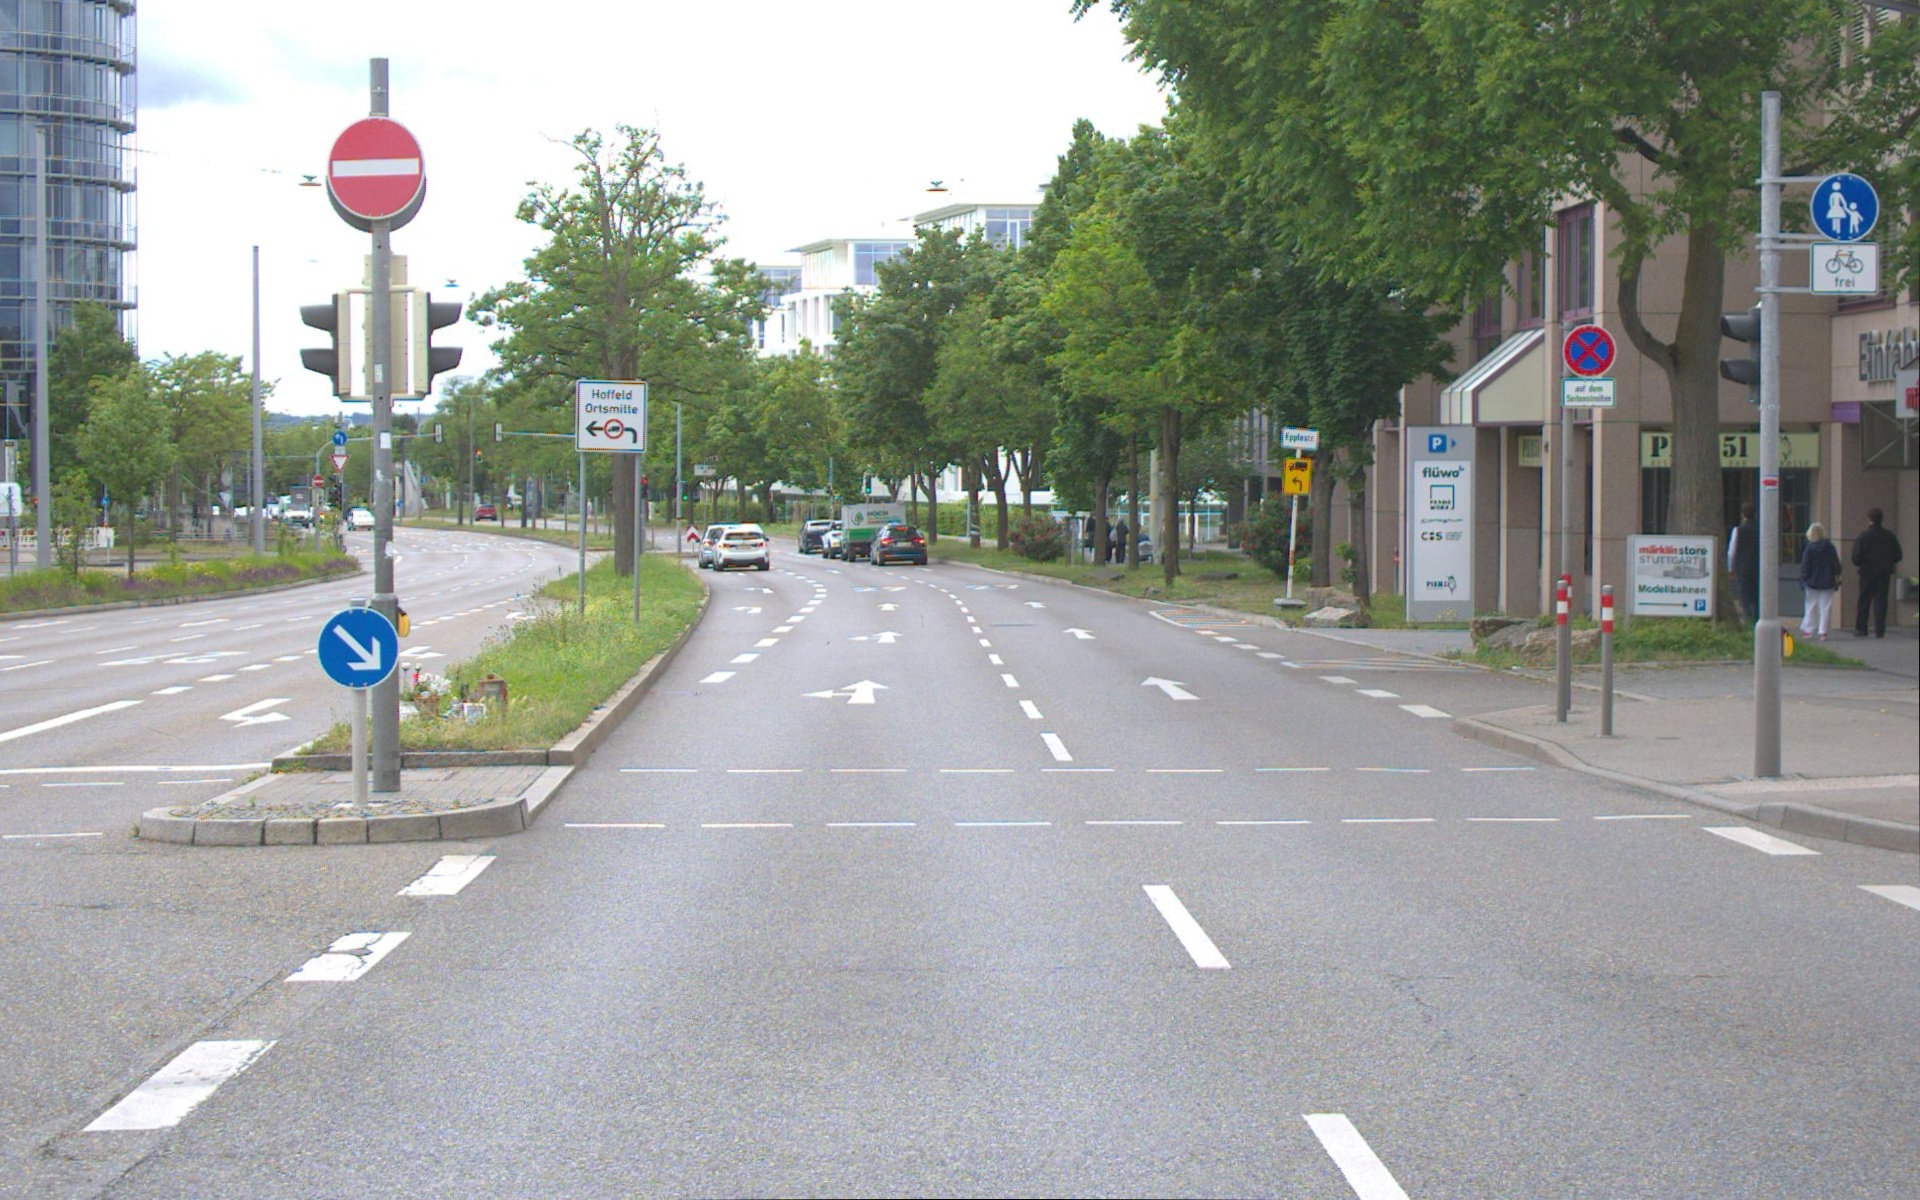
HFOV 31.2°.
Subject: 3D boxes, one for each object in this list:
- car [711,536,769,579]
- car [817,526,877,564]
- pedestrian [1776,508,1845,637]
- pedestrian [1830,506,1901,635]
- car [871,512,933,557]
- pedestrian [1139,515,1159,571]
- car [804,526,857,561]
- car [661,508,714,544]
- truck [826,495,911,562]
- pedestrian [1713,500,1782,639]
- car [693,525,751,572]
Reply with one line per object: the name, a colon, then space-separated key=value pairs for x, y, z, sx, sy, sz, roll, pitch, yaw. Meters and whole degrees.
car: x=-7.570 y=-1.452 z=118.181 sx=1.863 sy=1.444 sz=4.001 roll=0 pitch=1 yaw=-5
car: x=-4.619 y=-2.251 z=139.851 sx=1.993 sy=1.503 sz=4.001 roll=-1 pitch=1 yaw=-8
pedestrian: x=11.346 y=-0.373 z=45.870 sx=0.657 sy=1.685 sz=0.843 roll=-2 pitch=1 yaw=-1
pedestrian: x=12.080 y=-0.396 z=45.874 sx=0.657 sy=1.685 sz=0.843 roll=-2 pitch=1 yaw=-1
car: x=-2.065 y=-2.336 z=122.156 sx=1.993 sy=1.590 sz=4.001 roll=0 pitch=1 yaw=-4
pedestrian: x=5.750 y=-1.733 z=104.685 sx=0.567 sy=1.694 sz=0.829 roll=0 pitch=1 yaw=-1
car: x=-5.650 y=-2.467 z=149.879 sx=1.993 sy=1.503 sz=4.001 roll=0 pitch=1 yaw=-7
car: x=-11.717 y=-3.198 z=148.193 sx=1.993 sy=1.503 sz=4.000 roll=0 pitch=1 yaw=0
truck: x=-3.565 y=-2.745 z=132.482 sx=2.859 sy=2.511 sz=6.288 roll=0 pitch=1 yaw=-5
pedestrian: x=10.525 y=-0.409 z=45.963 sx=0.657 sy=1.820 sz=0.843 roll=-2 pitch=1 yaw=-1
car: x=-8.572 y=-1.855 z=123.589 sx=1.993 sy=1.666 sz=4.001 roll=0 pitch=1 yaw=-5
